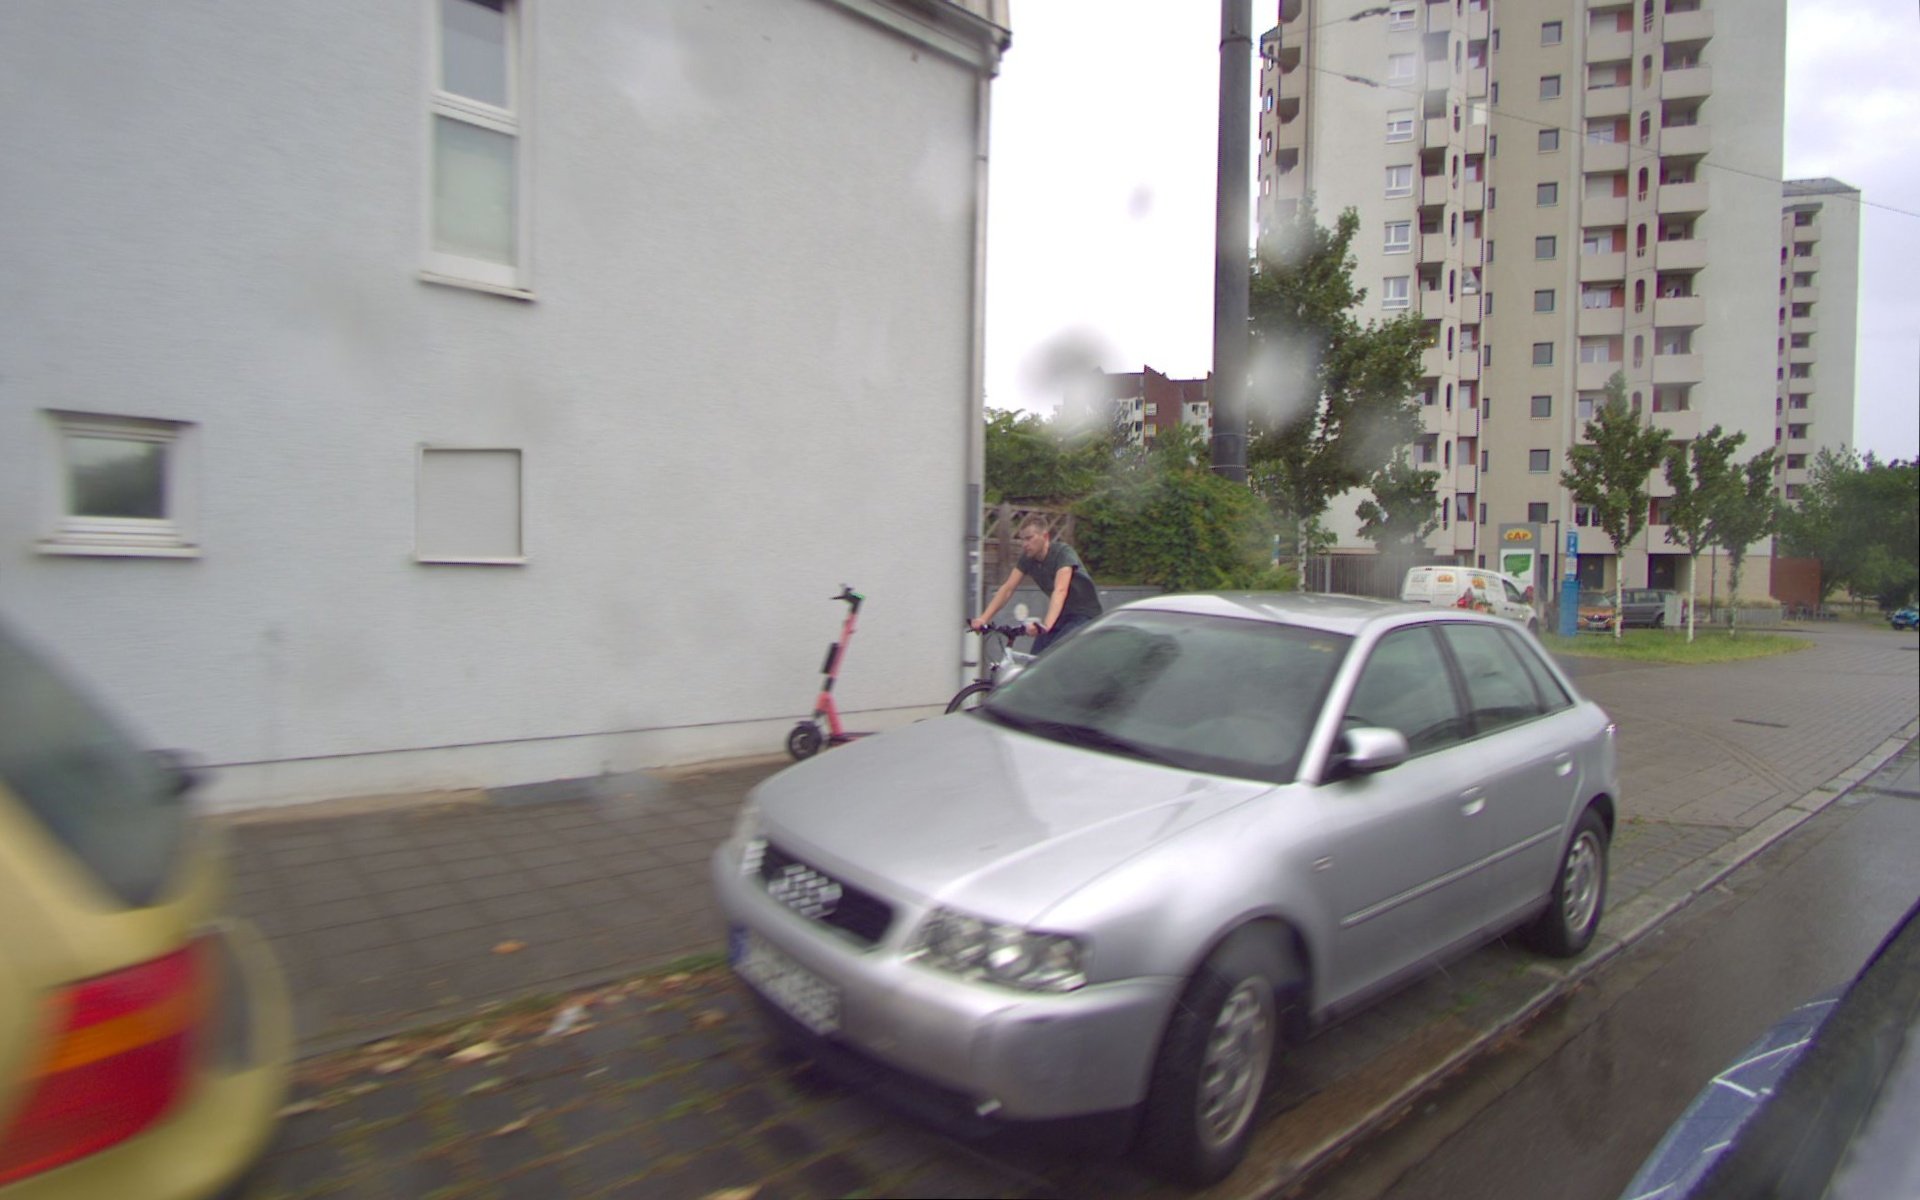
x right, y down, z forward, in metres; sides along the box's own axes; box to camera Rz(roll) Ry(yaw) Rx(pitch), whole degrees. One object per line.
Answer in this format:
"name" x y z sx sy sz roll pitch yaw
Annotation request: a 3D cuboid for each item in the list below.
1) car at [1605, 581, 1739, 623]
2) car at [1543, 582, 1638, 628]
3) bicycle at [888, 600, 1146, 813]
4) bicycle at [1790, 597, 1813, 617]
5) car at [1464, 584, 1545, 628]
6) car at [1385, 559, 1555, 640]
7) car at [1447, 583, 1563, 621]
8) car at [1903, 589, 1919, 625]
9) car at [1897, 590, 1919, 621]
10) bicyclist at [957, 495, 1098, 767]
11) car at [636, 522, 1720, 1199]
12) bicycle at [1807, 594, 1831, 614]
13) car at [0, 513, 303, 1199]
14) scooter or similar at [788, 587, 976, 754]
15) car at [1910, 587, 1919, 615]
"car" 28.894 0.072 41.227 4.058 1.637 1.804 0 0 18
"car" 21.539 0.141 34.743 1.975 1.459 3.974 0 1 20
"bicycle" 0.425 0.571 6.340 0.536 1.107 1.919 0 1 42
"bicycle" 43.877 0.359 52.773 2.023 1.018 0.662 -1 1 -42
"car" 19.379 0.157 36.185 1.975 1.459 3.974 0 1 20
"car" 12.602 -0.005 24.868 4.808 1.806 1.968 1 0 -39
"car" 23.155 0.096 43.175 4.058 1.553 1.804 0 0 18
"car" 44.095 0.332 45.097 2.522 1.567 1.600 1 2 8
"car" 50.693 0.403 51.421 4.116 1.567 1.761 4 2 8
"bicyclist" 0.430 0.170 6.329 0.533 1.579 0.761 0 1 41
"car" 1.279 0.497 3.958 4.567 1.422 1.654 -1 5 -40
"bicycle" 44.362 0.203 52.260 2.023 1.018 0.662 -1 1 -42
"car" -2.860 0.603 0.825 3.727 1.422 1.812 -1 5 -40
"scooter or similar" -0.536 0.460 7.265 1.369 1.098 0.334 -1 1 -35
"car" 61.119 0.196 61.629 4.390 1.692 1.808 4 2 10
